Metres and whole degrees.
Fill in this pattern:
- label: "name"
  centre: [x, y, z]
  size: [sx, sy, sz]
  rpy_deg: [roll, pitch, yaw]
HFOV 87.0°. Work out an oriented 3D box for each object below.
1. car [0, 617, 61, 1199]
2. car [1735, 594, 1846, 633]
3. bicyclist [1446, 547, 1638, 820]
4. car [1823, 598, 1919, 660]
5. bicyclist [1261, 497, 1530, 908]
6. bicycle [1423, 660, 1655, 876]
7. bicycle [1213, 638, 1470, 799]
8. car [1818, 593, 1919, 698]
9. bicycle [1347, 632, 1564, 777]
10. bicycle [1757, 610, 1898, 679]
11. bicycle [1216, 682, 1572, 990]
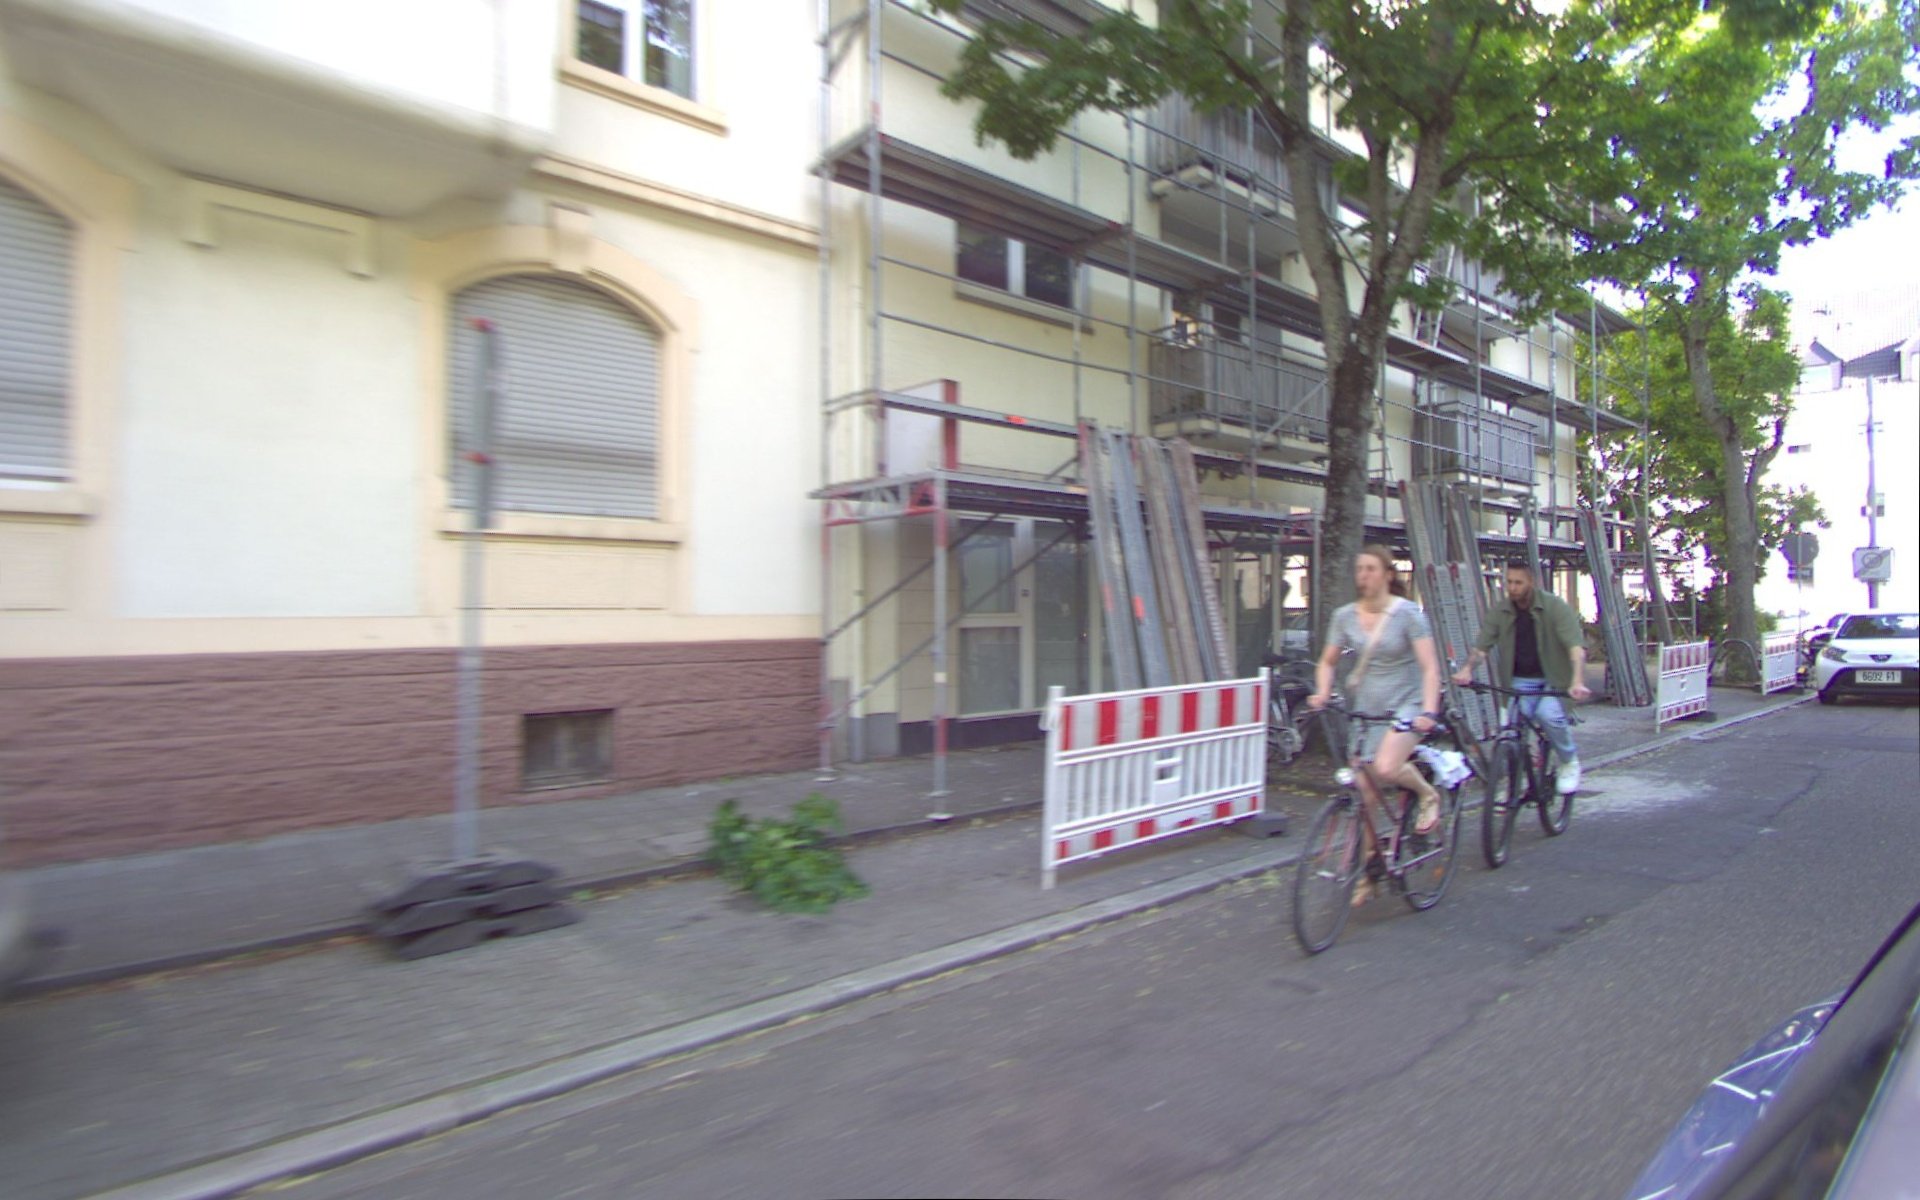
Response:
- label: "car"
  centre: [-4.567, 0.803, 1.829]
  size: [4.353, 1.440, 1.683]
  rpy_deg: [0, 0, -41]
- label: "car"
  centre: [36.722, 0.609, 44.810]
  size: [3.692, 1.628, 1.624]
  rpy_deg: [-2, -2, 43]
- label: "bicyclist"
  centre: [3.737, 0.494, 6.497]
  size: [0.965, 1.585, 0.756]
  rpy_deg: [0, -3, -43]
- label: "car"
  centre: [24.035, 0.689, 26.385]
  size: [4.428, 1.425, 1.664]
  rpy_deg: [0, 2, -41]
- label: "bicyclist"
  centre: [2.064, 0.436, 4.804]
  size: [0.964, 1.711, 0.716]
  rpy_deg: [0, -4, -39]
- label: "bicycle"
  centre: [3.729, 0.976, 6.450]
  size: [1.827, 1.073, 0.739]
  rpy_deg: [-1, -2, -43]
- label: "bicycle"
  centre: [3.114, 0.911, 8.497]
  size: [0.732, 1.136, 1.984]
  rpy_deg: [0, -1, -30]
- label: "car"
  centre: [15.546, 0.674, 16.392]
  size: [3.893, 1.555, 1.806]
  rpy_deg: [0, -2, -39]
- label: "bicycle"
  centre: [4.399, 0.875, 9.180]
  size: [0.732, 1.136, 1.932]
  rpy_deg: [-1, -1, -11]
- label: "bicycle"
  centre: [16.617, 0.826, 19.458]
  size: [1.960, 1.169, 0.742]
  rpy_deg: [3, 2, 36]
- label: "bicycle"
  centre: [2.089, 0.979, 4.760]
  size: [1.824, 1.059, 0.707]
  rpy_deg: [-1, -4, -39]
